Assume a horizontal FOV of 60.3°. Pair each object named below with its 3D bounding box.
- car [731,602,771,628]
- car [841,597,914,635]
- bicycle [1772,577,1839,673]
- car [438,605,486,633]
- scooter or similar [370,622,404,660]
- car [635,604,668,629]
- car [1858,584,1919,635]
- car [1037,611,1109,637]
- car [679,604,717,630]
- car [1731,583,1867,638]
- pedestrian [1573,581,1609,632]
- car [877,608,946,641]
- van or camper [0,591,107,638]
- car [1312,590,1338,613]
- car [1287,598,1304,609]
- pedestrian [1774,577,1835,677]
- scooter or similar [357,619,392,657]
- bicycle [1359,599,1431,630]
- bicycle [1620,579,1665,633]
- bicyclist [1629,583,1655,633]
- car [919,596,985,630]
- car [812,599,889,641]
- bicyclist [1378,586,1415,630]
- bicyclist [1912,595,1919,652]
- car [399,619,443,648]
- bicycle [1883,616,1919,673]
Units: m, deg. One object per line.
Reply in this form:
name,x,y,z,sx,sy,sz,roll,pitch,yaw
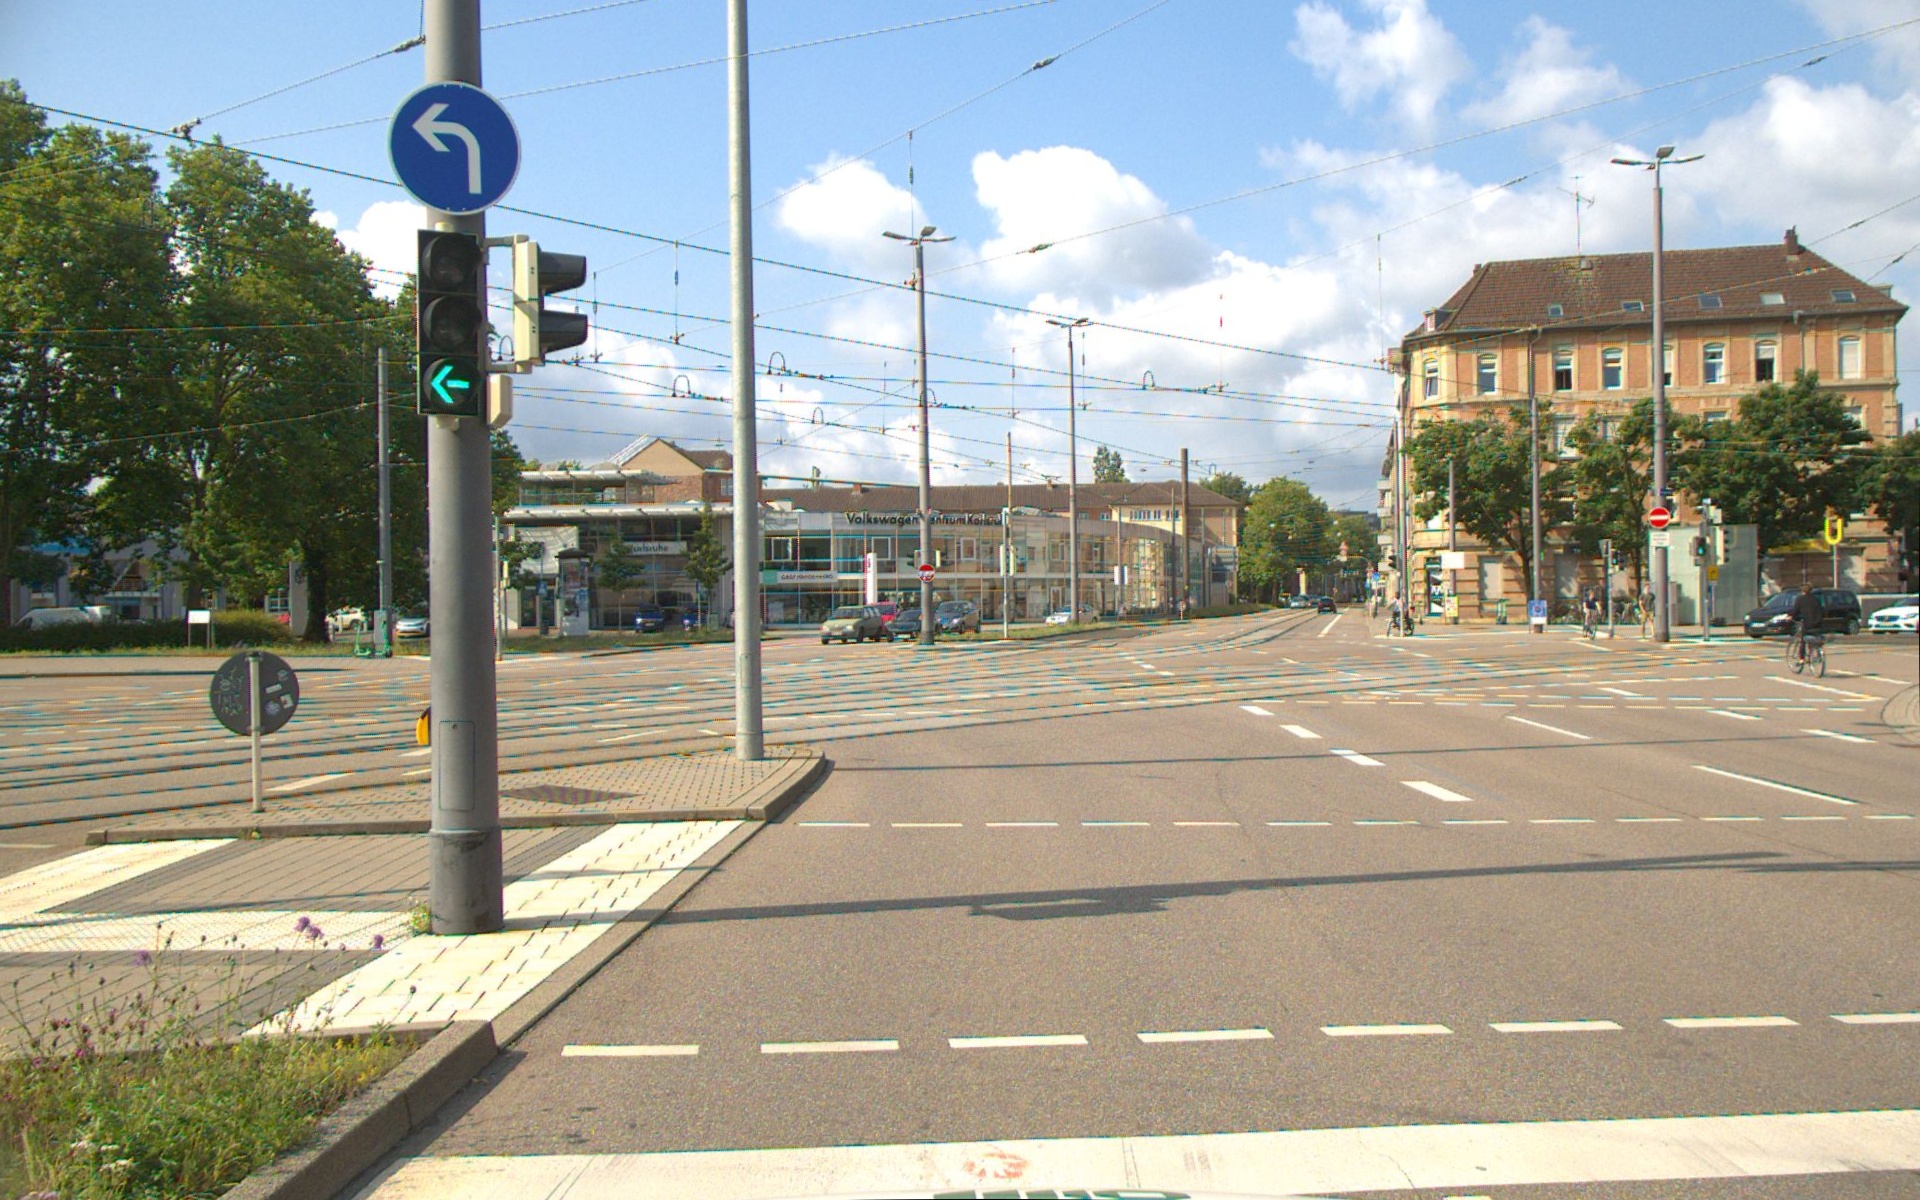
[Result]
car,-12.891,0.920,102.164,1.880,1.579,4.000,-1,0,1
car,-3.442,0.654,69.906,1.951,1.545,4.003,1,0,15
bicycle,16.245,0.457,31.828,0.985,1.755,2.468,1,0,24
car,-30.352,1.145,100.898,2.027,1.632,3.996,-1,0,-5
scooter or similar,-18.374,1.317,53.074,0.374,1.177,0.927,5,1,33
car,-18.749,1.013,100.513,1.885,1.470,3.990,-1,0,-11
car,33.902,0.293,58.084,4.616,1.623,1.982,-2,1,-28
car,6.904,1.468,100.929,4.438,1.489,1.756,1,0,-40
car,-15.875,1.009,100.338,1.882,1.470,3.997,-1,0,-4
car,28.097,0.353,55.390,4.277,1.770,1.982,1,0,-28
pedestrian,23.093,0.219,60.559,0.850,1.841,0.884,1,0,-13
car,-1.829,0.929,63.752,1.587,1.182,4.003,1,0,15
van or camper,-51.856,0.798,93.783,5.754,2.512,2.394,1,0,3
car,33.732,0.157,152.775,1.951,2.049,4.002,-1,0,17
car,42.122,0.459,207.698,1.951,1.355,4.003,-1,0,10
pedestrian,16.205,0.506,31.757,0.972,1.873,0.996,1,0,24
scooter or similar,-18.883,1.235,53.342,0.375,1.177,0.923,6,1,45
bicycle,17.111,0.564,65.043,2.622,1.191,0.899,-1,1,-9
bicycle,23.197,0.213,56.252,0.715,1.808,1.636,-1,0,-4
bicyclist,23.194,0.278,56.229,0.561,1.700,0.655,-1,0,-4
car,-0.353,0.615,78.959,1.951,1.579,4.002,-1,0,18
car,-4.222,0.749,64.228,1.782,1.539,4.003,1,0,15
bicyclist,17.154,0.316,64.993,1.171,1.687,0.784,-1,1,-9
bicyclist,18.270,0.438,30.275,0.970,1.045,1.214,2,-2,-1
car,-32.960,2.031,101.233,1.957,1.601,3.992,1,0,-9
bicycle,18.260,0.823,30.219,0.973,1.045,3.108,2,-2,-1
